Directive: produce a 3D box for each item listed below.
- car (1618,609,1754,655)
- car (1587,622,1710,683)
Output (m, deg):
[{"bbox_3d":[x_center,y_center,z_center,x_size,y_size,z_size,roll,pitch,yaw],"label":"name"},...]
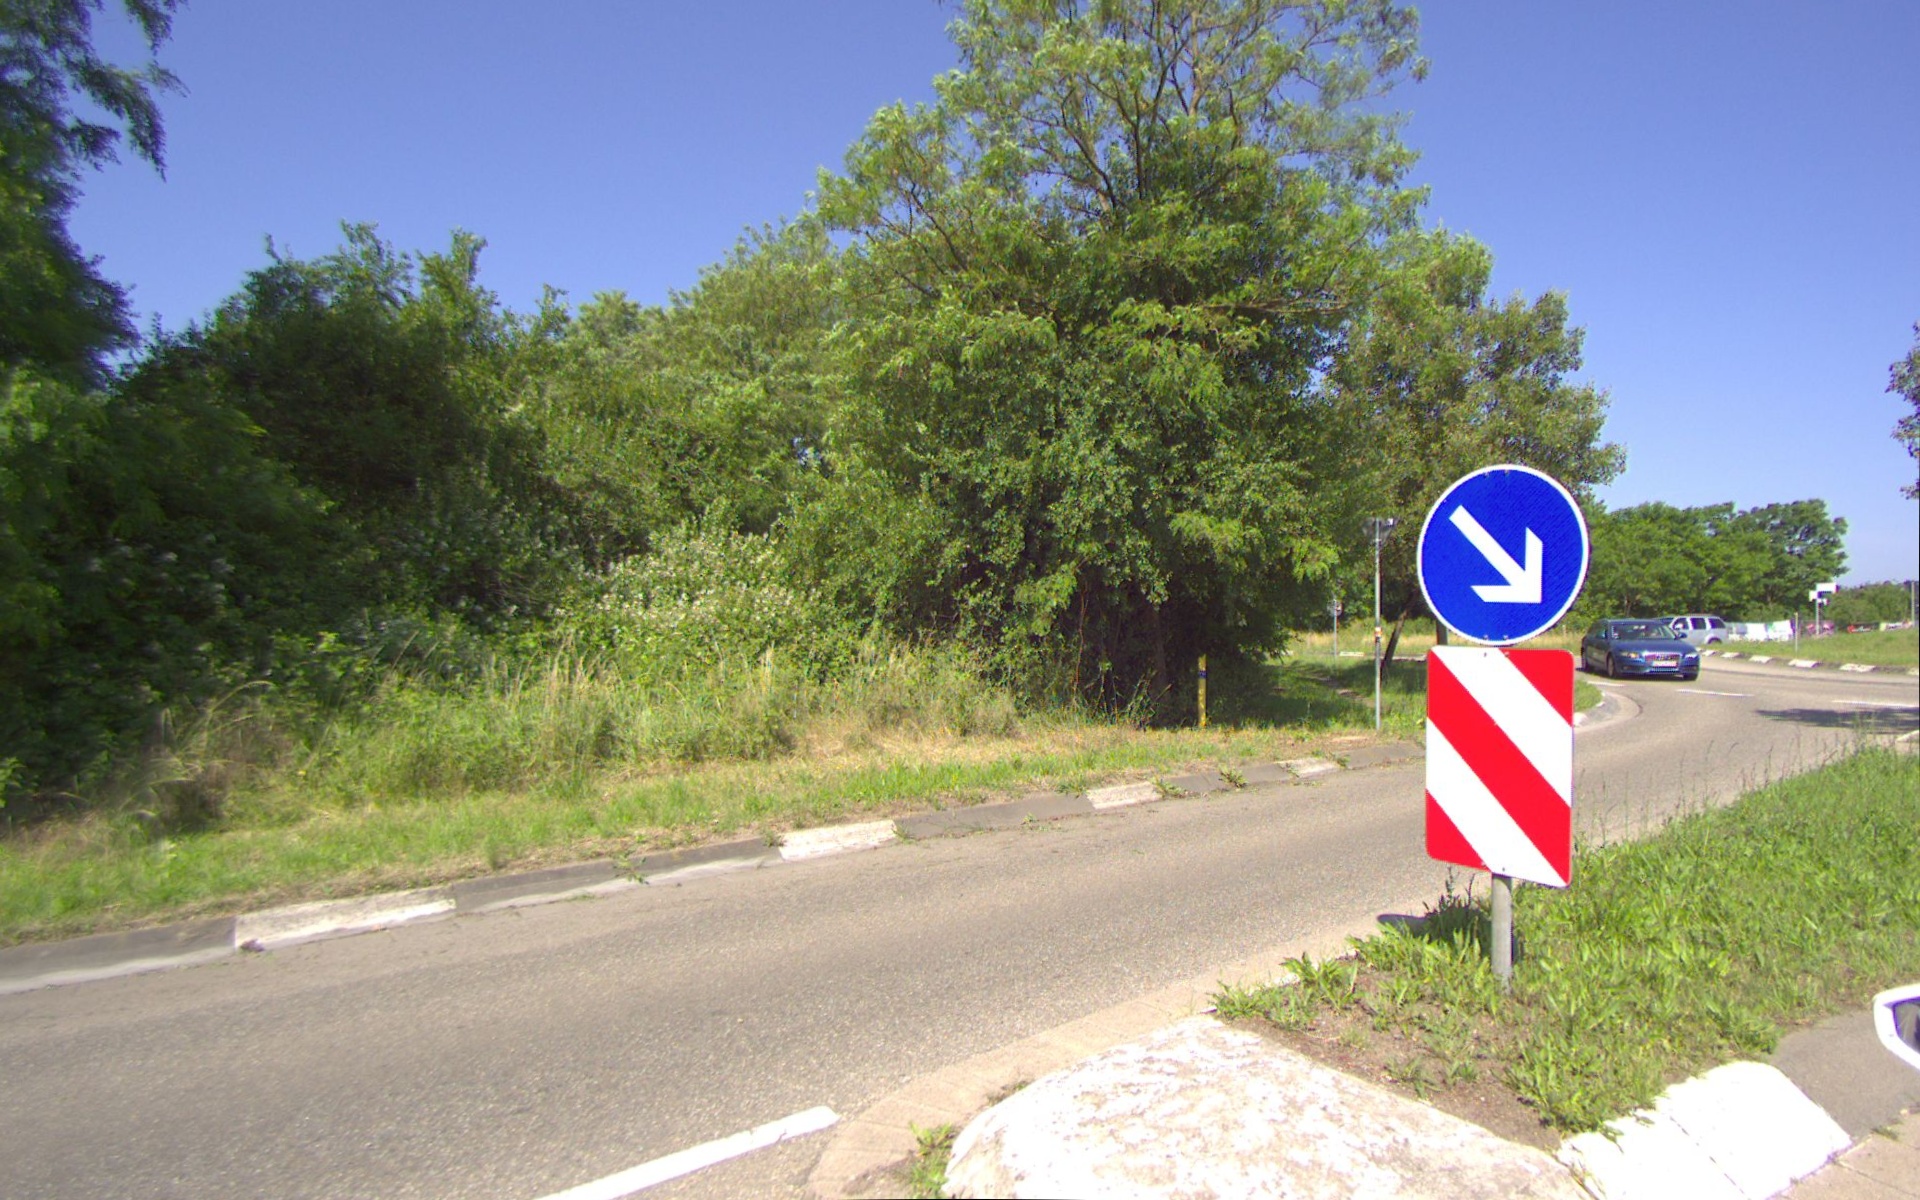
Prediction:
[{"bbox_3d":[30.002,1.320,41.575,4.512,1.840,1.897,0,-1,-9],"label":"car"},{"bbox_3d":[17.393,1.293,25.590,1.804,1.405,4.421,-2,-2,25],"label":"car"}]
